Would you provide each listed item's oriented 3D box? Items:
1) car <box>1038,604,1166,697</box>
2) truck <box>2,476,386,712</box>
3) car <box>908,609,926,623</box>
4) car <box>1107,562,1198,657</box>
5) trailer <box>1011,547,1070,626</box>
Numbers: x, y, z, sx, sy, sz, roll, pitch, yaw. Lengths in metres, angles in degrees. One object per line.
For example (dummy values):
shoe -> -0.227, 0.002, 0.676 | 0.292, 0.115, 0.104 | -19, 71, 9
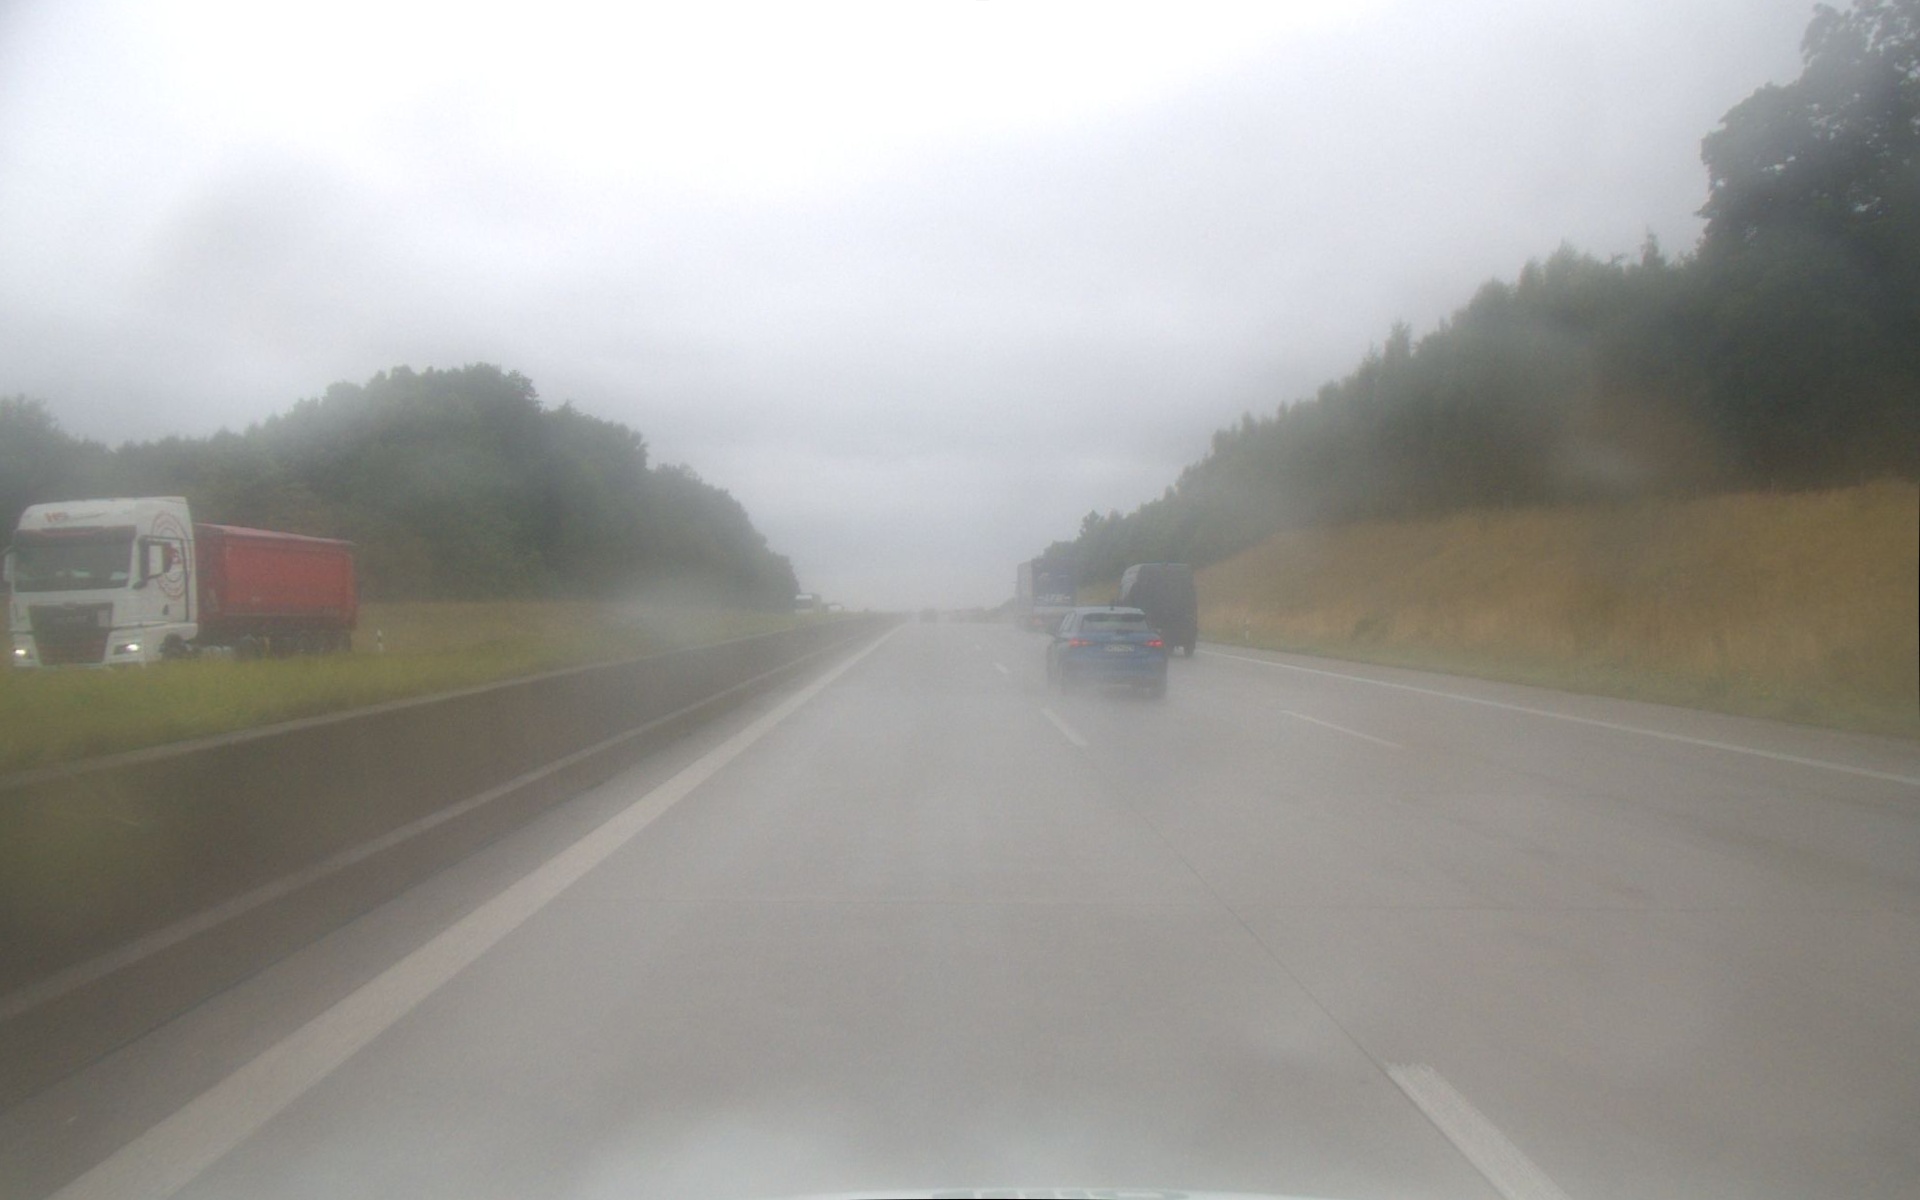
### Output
car -> 2.408, 0.880, 29.060 | 1.694, 1.484, 4.670 | -1, -2, -2
truck -> -16.414, 0.040, 37.088 | 2.698, 4.280, 13.098 | -1, -1, -1
car -> -4.157, 1.577, 160.198 | 1.694, 1.354, 4.428 | 0, 0, -2
car -> 5.850, 0.285, 50.979 | 1.901, 2.705, 6.584 | 1, 0, -1
trailer -> 4.802, -0.645, 101.362 | 2.651, 4.456, 15.200 | 1, -1, -1
